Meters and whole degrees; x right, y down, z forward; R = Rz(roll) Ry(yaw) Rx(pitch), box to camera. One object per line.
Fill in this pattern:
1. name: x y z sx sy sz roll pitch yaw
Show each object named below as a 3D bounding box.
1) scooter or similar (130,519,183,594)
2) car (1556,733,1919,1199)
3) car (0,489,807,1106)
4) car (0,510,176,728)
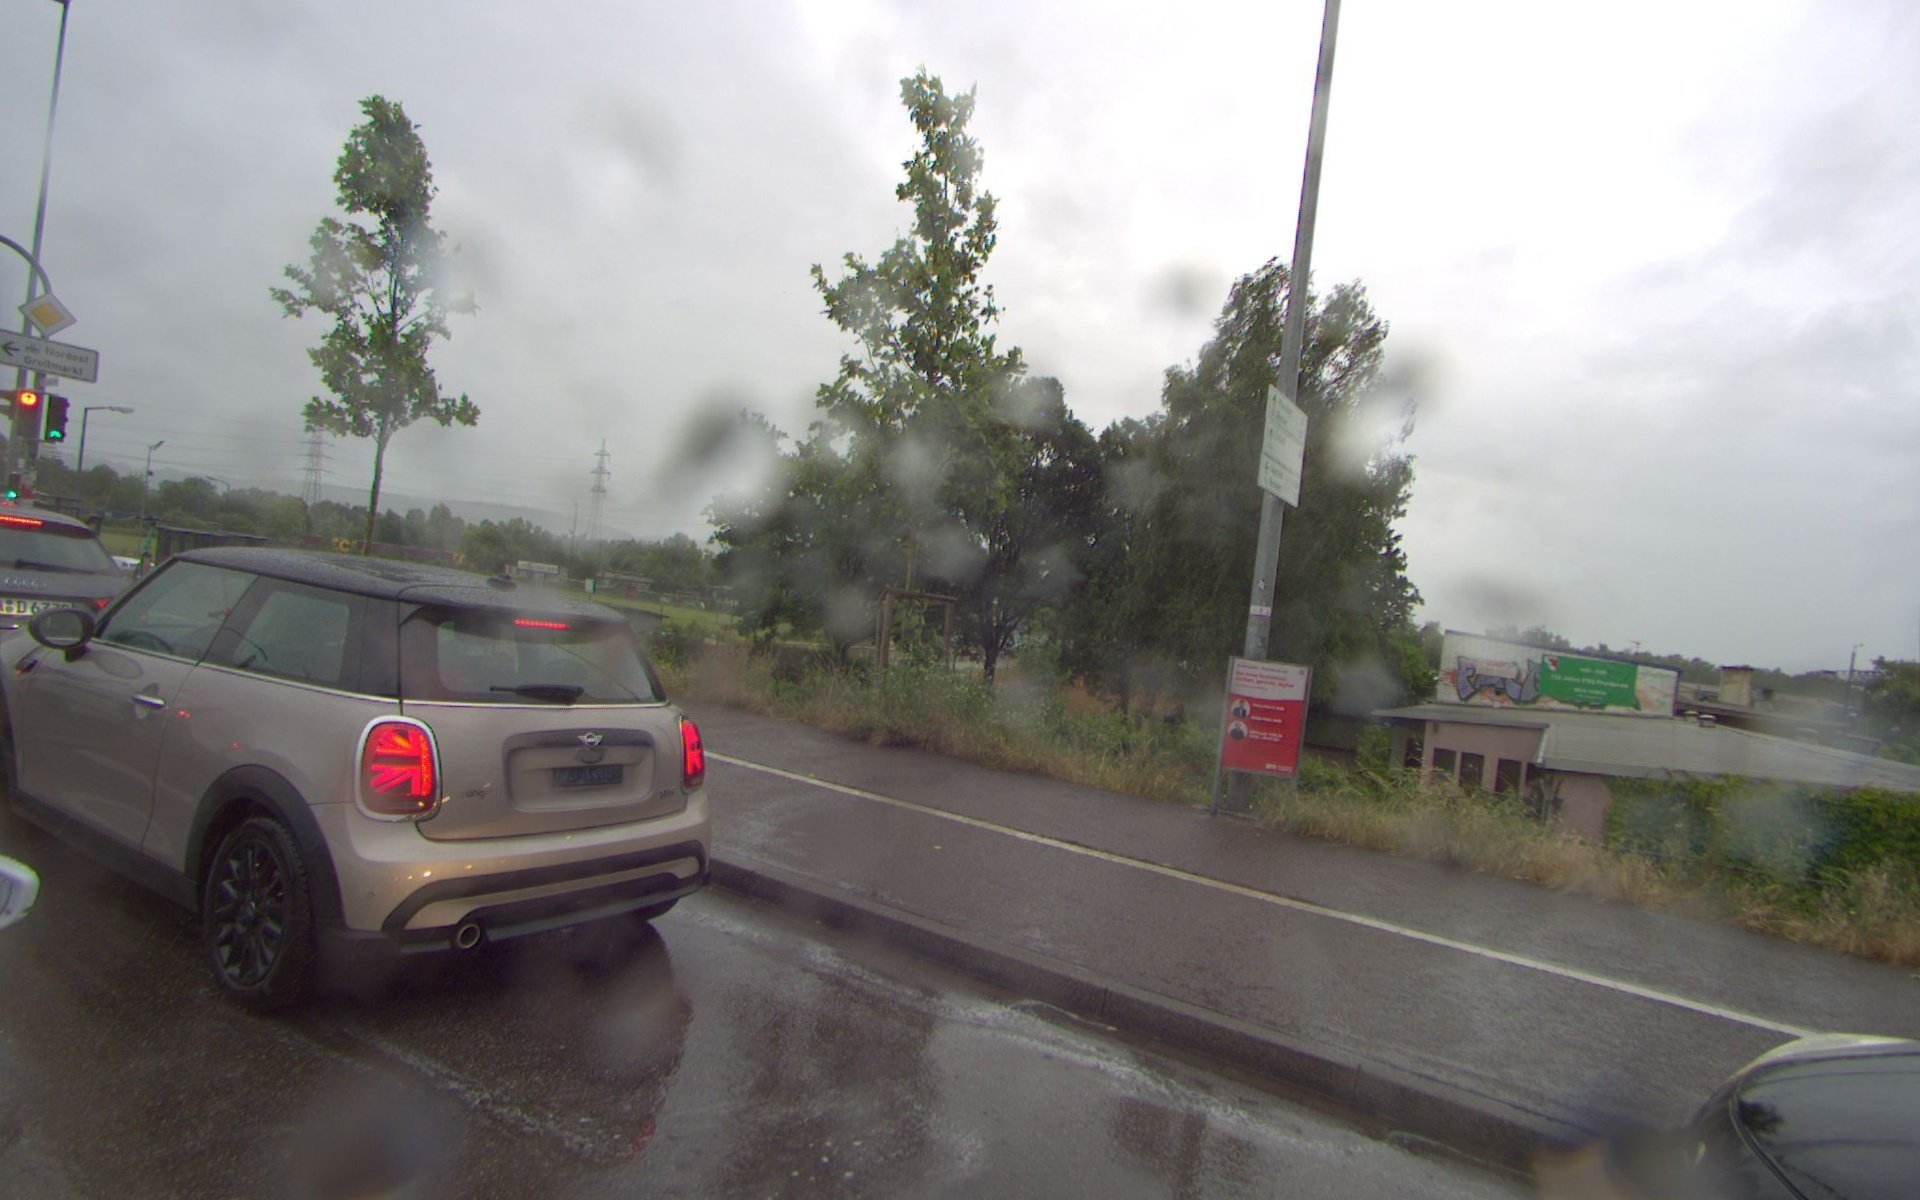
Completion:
1. scooter or similar: -13.600 -0.749 17.019 1.167 1.171 0.246 6 -1 33
2. car: 2.777 1.184 1.066 3.563 1.445 1.632 7 -1 31
3. car: -2.677 0.497 4.343 3.563 1.525 1.717 7 -2 31
4. car: -7.484 -0.040 7.228 3.563 1.360 1.632 6 -2 31
